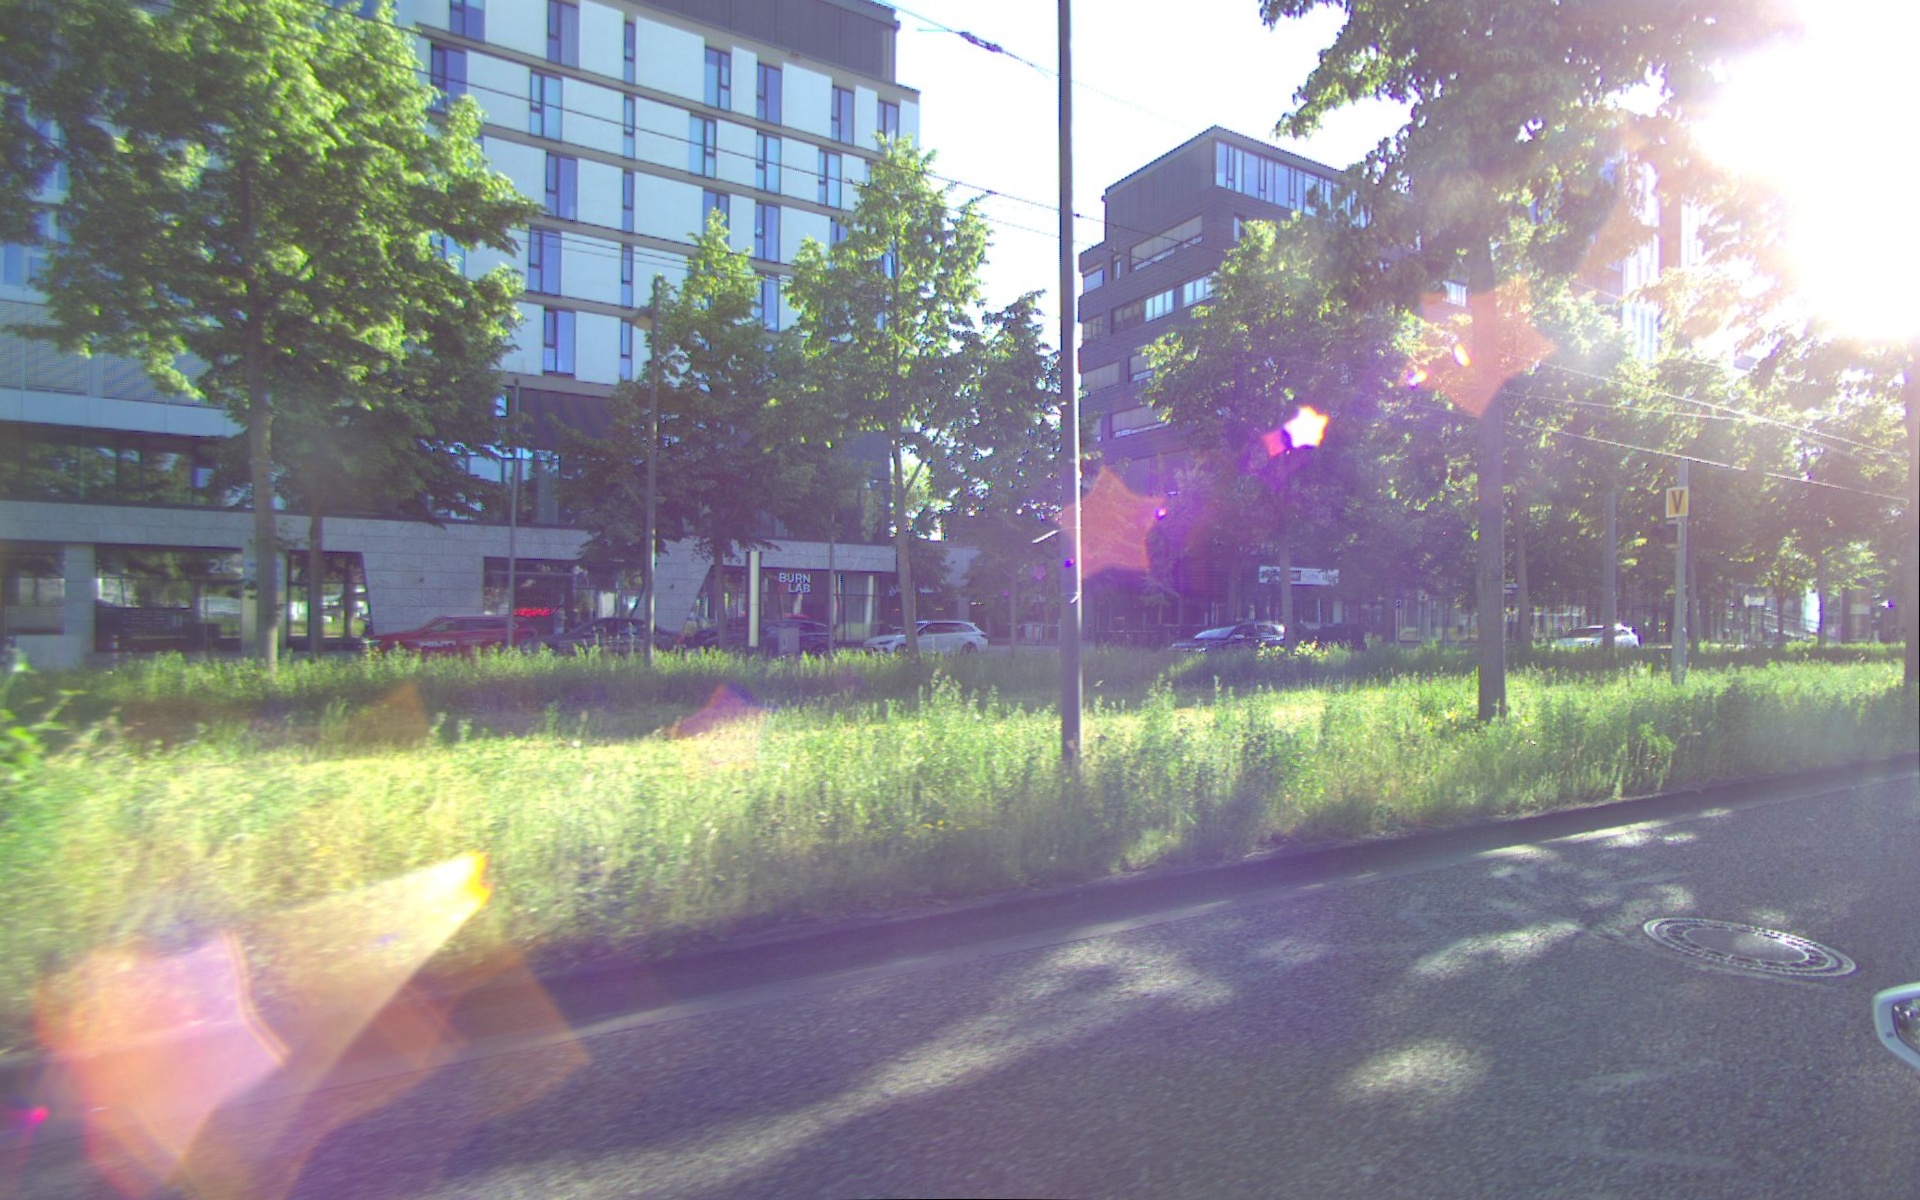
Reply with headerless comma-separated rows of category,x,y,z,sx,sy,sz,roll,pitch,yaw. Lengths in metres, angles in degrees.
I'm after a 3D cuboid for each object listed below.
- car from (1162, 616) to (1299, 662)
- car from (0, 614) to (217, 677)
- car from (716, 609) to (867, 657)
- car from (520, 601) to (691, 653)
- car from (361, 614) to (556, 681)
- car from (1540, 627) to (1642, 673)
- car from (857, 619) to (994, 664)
car,8.247,1.163,30.528,3.954,1.280,1.789,1,-1,-31
car,-19.822,1.030,23.518,3.710,1.372,1.724,1,-1,-31
car,-5.399,1.051,32.376,4.489,1.439,1.708,1,-1,-29
car,-10.355,0.783,29.422,4.492,1.439,1.707,1,-1,-30
car,-14.950,1.352,30.087,5.075,1.801,1.786,0,1,-34
car,25.957,2.017,41.280,4.271,1.711,1.788,0,1,-31
car,-1.161,1.403,34.735,4.492,1.439,1.707,1,-1,-30
